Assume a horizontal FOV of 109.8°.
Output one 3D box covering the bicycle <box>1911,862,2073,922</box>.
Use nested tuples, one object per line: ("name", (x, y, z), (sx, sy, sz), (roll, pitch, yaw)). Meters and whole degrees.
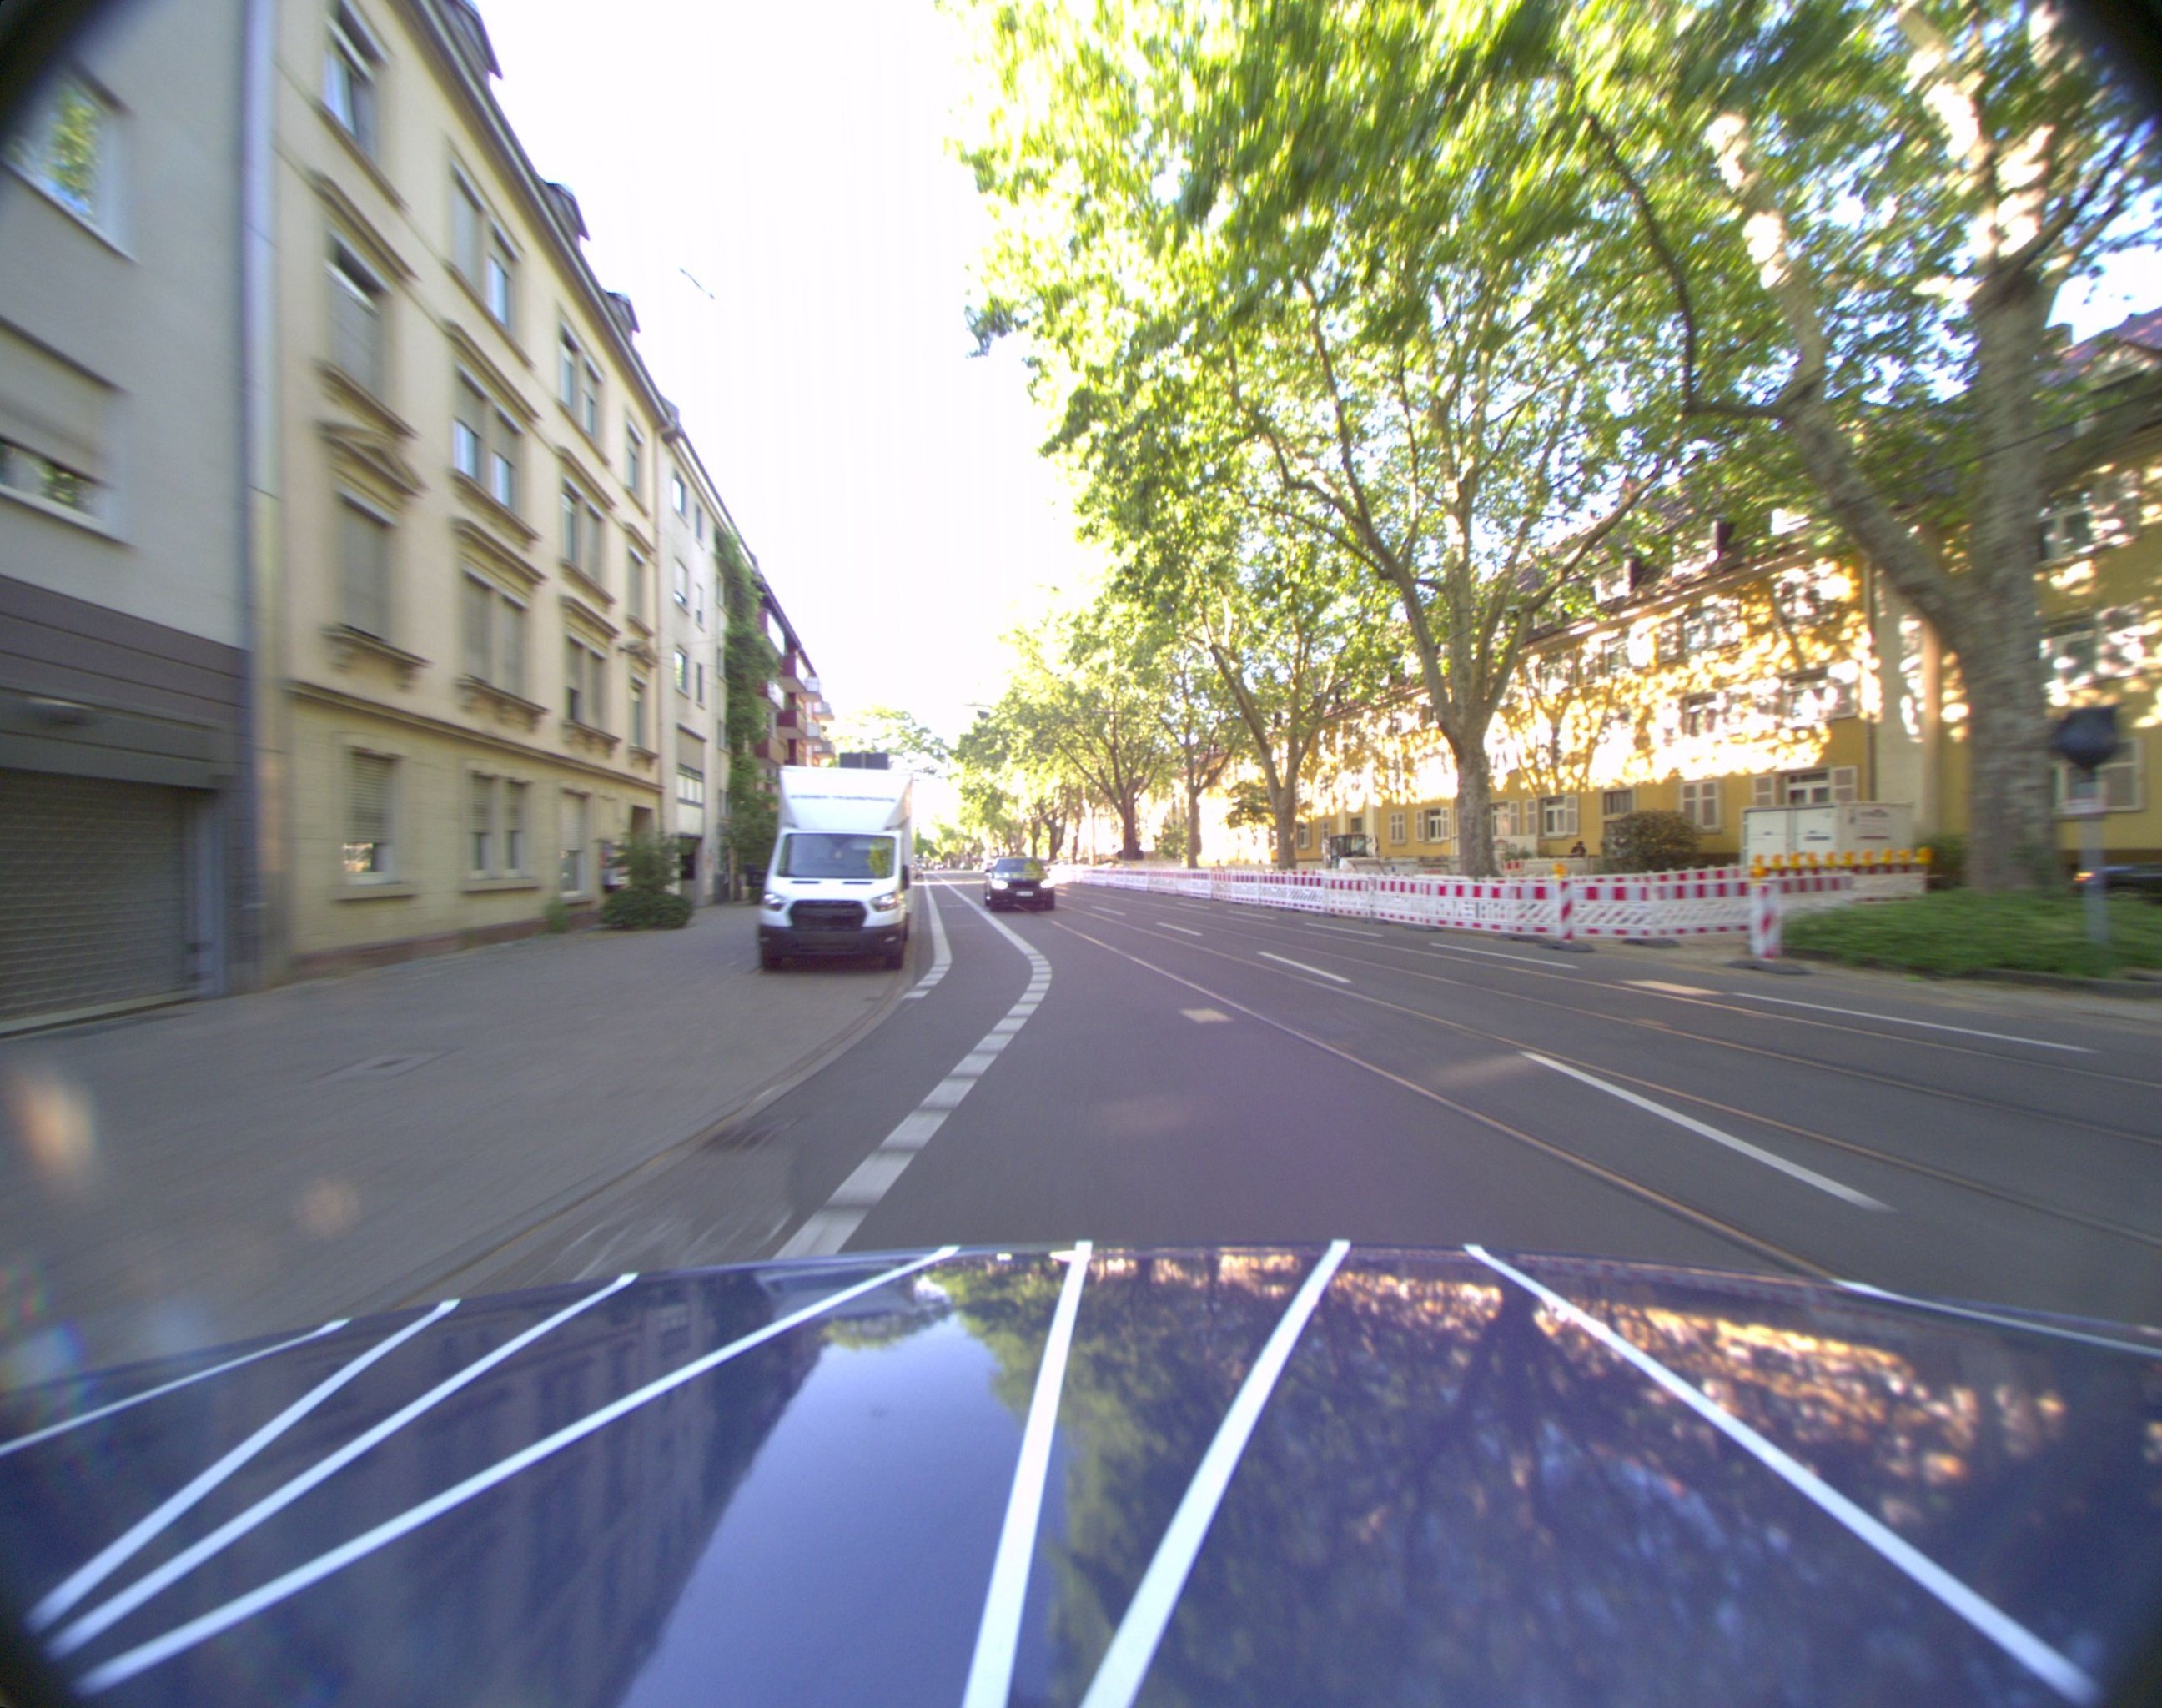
("bicycle", (18.552, 0.731, 15.558), (0.627, 1.134, 2.111), (-1, 0, -8))

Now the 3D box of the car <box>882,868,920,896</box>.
("car", (-9.607, 1.468, 40.864), (1.665, 1.391, 4.736), (1, -1, -10))

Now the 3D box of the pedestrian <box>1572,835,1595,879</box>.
("pedestrian", (18.787, 0.114, 28.421), (0.670, 1.646, 0.674), (0, 0, 32))

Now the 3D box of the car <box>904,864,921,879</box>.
("car", (-17.435, 1.796, 78.737), (1.711, 1.464, 3.996), (0, 0, -12))

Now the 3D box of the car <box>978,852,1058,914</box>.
("car", (-2.135, 0.863, 24.416), (1.926, 1.741, 4.802), (-1, 0, -12))

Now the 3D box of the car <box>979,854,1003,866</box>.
("car", (-19.673, 1.351, 165.781), (5.024, 2.383, 2.026), (-1, -1, -13))

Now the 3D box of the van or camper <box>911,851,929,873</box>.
("van or camper", (-23.455, 1.107, 110.333), (2.471, 3.046, 6.261), (1, -1, -13))

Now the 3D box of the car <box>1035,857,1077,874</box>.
("car", (-2.725, 1.219, 82.639), (4.214, 1.747, 1.738), (-1, 0, -14))

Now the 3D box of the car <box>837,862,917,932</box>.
("car", (-5.207, 1.021, 19.533), (1.737, 1.548, 4.146), (2, 0, -14))

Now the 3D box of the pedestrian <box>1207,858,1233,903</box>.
("pedestrian", (5.296, 0.996, 28.968), (0.719, 1.659, 0.778), (-2, 1, -11))

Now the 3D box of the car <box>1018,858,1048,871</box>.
("car", (-6.617, 1.453, 104.140), (3.861, 1.653, 1.860), (0, 0, -11))

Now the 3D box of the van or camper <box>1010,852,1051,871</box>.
("van or camper", (-7.234, 1.051, 108.782), (5.408, 2.501, 2.442), (-1, 0, -12))

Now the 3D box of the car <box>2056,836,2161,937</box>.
("car", (17.963, 0.492, 10.952), (1.795, 1.562, 4.517), (-2, 0, -7))

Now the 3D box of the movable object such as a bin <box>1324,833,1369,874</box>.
("movable object such as a bin", (10.962, -0.024, 31.408), (1.101, 1.636, 1.558), (-2, 1, -11))

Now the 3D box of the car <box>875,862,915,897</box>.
("car", (-8.675, 1.155, 35.649), (1.666, 1.571, 3.585), (1, -1, -11))

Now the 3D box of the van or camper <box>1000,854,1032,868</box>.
("van or camper", (-10.380, 1.134, 121.082), (4.837, 2.177, 2.117), (-1, 0, -12))

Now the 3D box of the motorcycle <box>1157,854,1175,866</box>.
("motorcycle", (8.694, 0.602, 77.394), (1.715, 1.234, 0.522), (-1, 0, -10))

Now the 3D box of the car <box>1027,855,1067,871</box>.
("car", (-4.272, 1.123, 95.768), (4.674, 1.934, 1.959), (-1, 0, -15))

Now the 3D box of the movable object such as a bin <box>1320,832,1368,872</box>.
("movable object such as a bin", (12.766, -0.105, 36.903), (1.338, 1.858, 2.005), (-2, 1, -11))

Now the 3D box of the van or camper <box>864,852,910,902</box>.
("van or camper", (-7.832, 0.904, 30.840), (1.675, 1.871, 4.205), (1, -1, -14))

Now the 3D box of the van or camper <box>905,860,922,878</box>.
("van or camper", (-18.430, 1.648, 83.601), (1.761, 1.853, 4.825), (0, 0, -13))

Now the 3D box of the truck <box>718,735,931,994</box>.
("truck", (-4.039, 0.190, 13.529), (2.547, 3.318, 7.188), (2, 0, -11))

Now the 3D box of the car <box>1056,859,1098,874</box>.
("car", (-0.420, 1.277, 76.590), (3.861, 1.489, 1.860), (0, 0, -11))

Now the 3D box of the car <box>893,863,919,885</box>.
("car", (-12.511, 1.422, 54.537), (1.739, 1.453, 3.912), (1, -1, -12))
